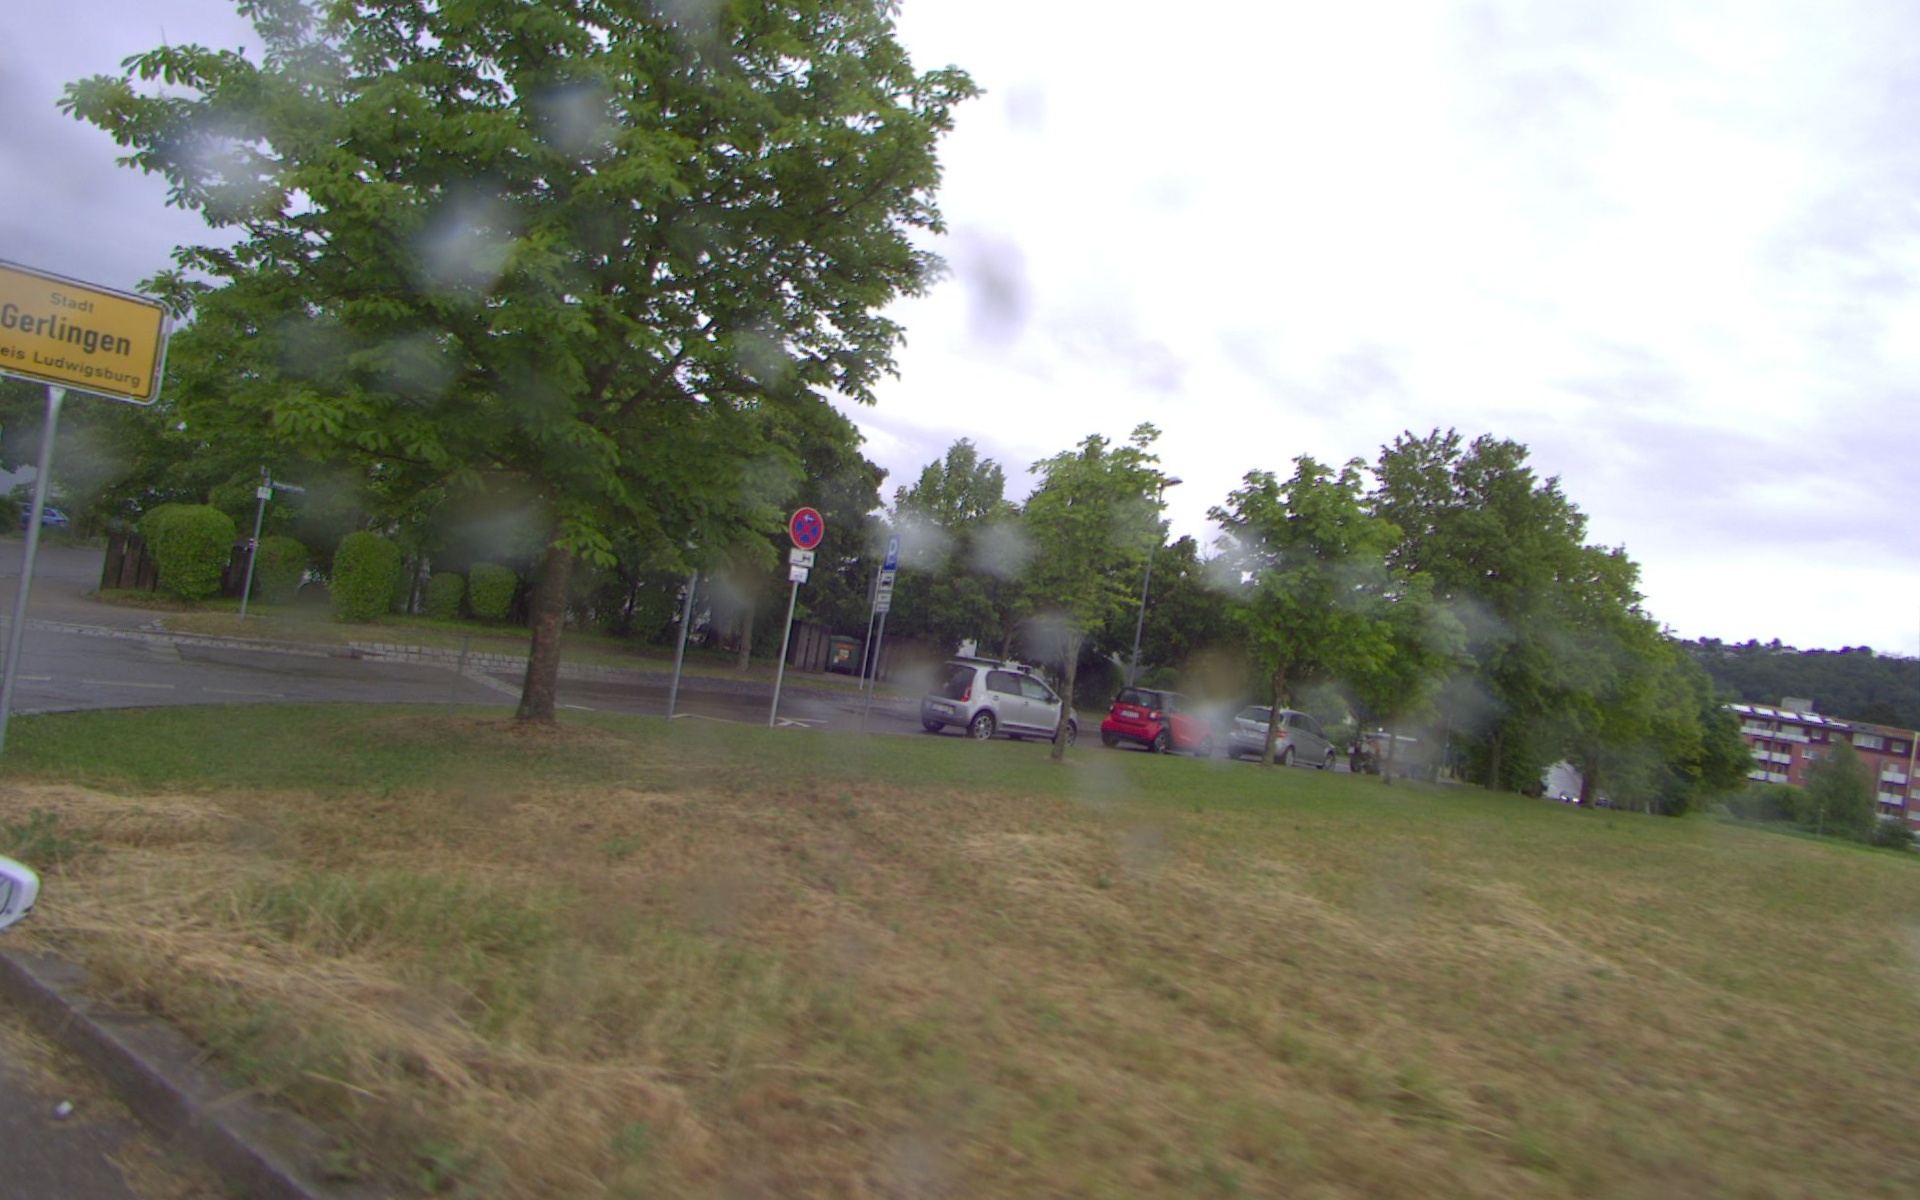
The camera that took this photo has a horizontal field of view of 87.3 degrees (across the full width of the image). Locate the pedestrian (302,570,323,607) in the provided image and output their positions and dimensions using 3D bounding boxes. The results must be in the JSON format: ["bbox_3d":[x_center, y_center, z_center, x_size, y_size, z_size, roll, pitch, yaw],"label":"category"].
[{"bbox_3d":[-22.888,-0.402,35.561,0.422,1.244,0.419,8,-2,-22],"label":"pedestrian"}]

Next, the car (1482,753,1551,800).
[{"bbox_3d":[26.453,8.412,47.773,1.935,1.623,3.992,7,-6,42],"label":"car"}]

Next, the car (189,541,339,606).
[{"bbox_3d":[-24.660,-0.911,35.811,3.948,1.683,1.770,8,-1,-23],"label":"car"}]

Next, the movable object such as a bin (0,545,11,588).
[{"bbox_3d":[-22.019,-0.796,22.742,0.565,0.941,0.527,10,-2,-25],"label":"movable object such as a bin"}]

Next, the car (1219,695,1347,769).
[{"bbox_3d":[9.371,3.830,28.993,1.828,1.568,3.975,7,-4,44],"label":"car"}]

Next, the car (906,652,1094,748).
[{"bbox_3d":[0.865,2.064,20.606,3.532,1.495,1.661,10,-3,-41],"label":"car"}]

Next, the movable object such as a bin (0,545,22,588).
[{"bbox_3d":[-22.250,-0.802,23.270,0.565,0.941,0.527,10,-2,-25],"label":"movable object such as a bin"}]

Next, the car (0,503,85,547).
[{"bbox_3d":[-47.692,-3.919,51.516,3.967,1.584,1.892,12,-4,-34],"label":"car"}]

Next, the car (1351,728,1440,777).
[{"bbox_3d":[15.078,5.280,34.727,1.711,1.295,3.315,7,-3,43],"label":"car"}]

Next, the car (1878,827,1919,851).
[{"bbox_3d":[113.333,28.687,120.117,5.206,2.036,1.993,6,-3,41],"label":"car"}]

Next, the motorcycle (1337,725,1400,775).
[{"bbox_3d":[12.969,4.773,31.923,0.958,1.316,2.257,7,-4,43],"label":"motorcycle"}]

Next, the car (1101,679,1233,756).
[{"bbox_3d":[5.095,2.896,24.641,2.994,1.451,1.536,11,-4,-41],"label":"car"}]
